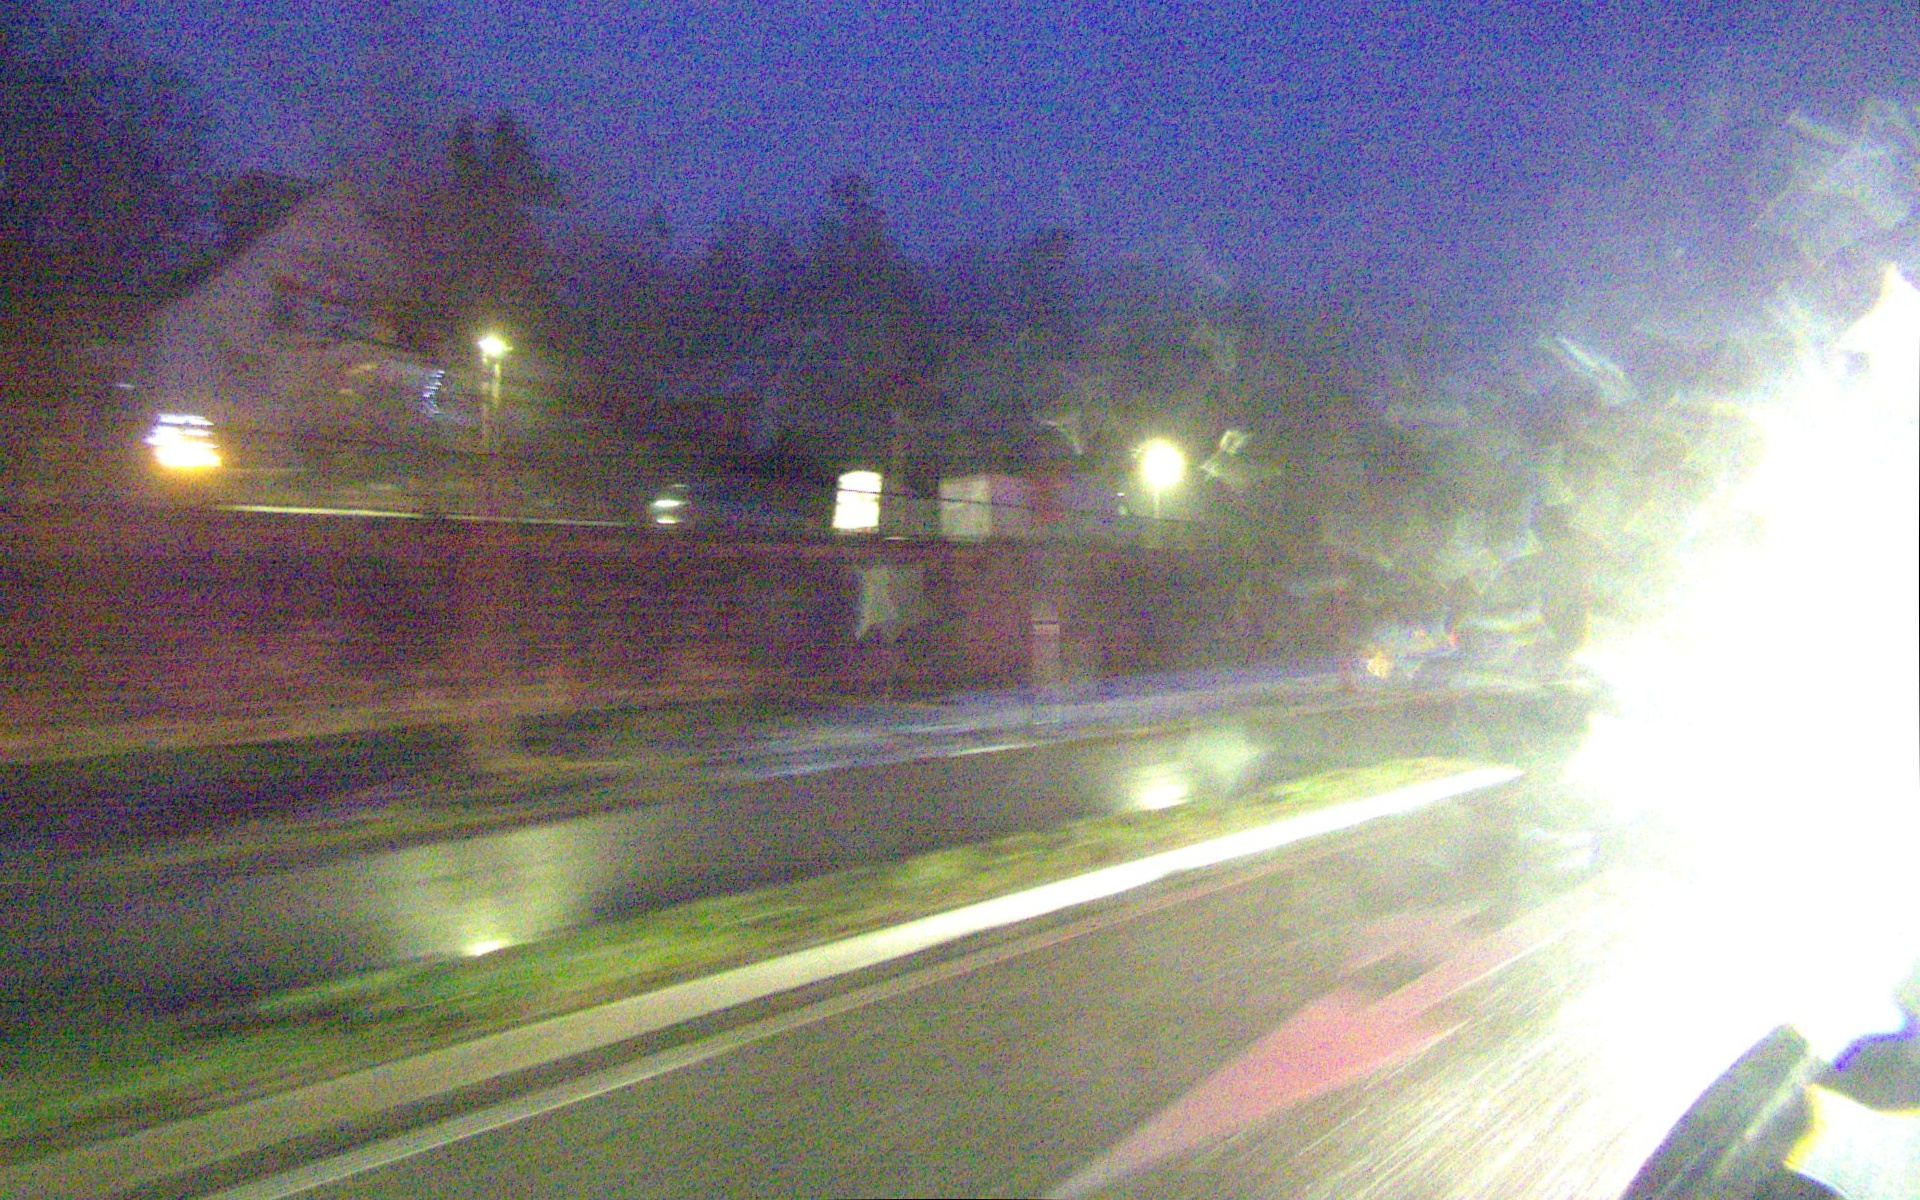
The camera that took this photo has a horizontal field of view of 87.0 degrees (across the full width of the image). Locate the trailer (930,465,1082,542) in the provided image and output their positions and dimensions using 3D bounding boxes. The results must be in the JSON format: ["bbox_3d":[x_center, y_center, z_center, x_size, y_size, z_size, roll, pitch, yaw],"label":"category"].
[{"bbox_3d":[1.646,-3.117,33.741,2.221,2.097,5.643,1,1,38],"label":"trailer"}]

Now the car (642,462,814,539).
[{"bbox_3d":[-5.425,-2.293,24.114,1.608,1.491,3.949,0,1,36],"label":"car"}]

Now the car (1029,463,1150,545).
[{"bbox_3d":[4.965,-3.497,38.117,2.110,2.668,5.376,1,1,38],"label":"car"}]

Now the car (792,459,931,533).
[{"bbox_3d":[-2.625,-2.775,27.674,1.608,1.660,3.949,0,1,36],"label":"car"}]
